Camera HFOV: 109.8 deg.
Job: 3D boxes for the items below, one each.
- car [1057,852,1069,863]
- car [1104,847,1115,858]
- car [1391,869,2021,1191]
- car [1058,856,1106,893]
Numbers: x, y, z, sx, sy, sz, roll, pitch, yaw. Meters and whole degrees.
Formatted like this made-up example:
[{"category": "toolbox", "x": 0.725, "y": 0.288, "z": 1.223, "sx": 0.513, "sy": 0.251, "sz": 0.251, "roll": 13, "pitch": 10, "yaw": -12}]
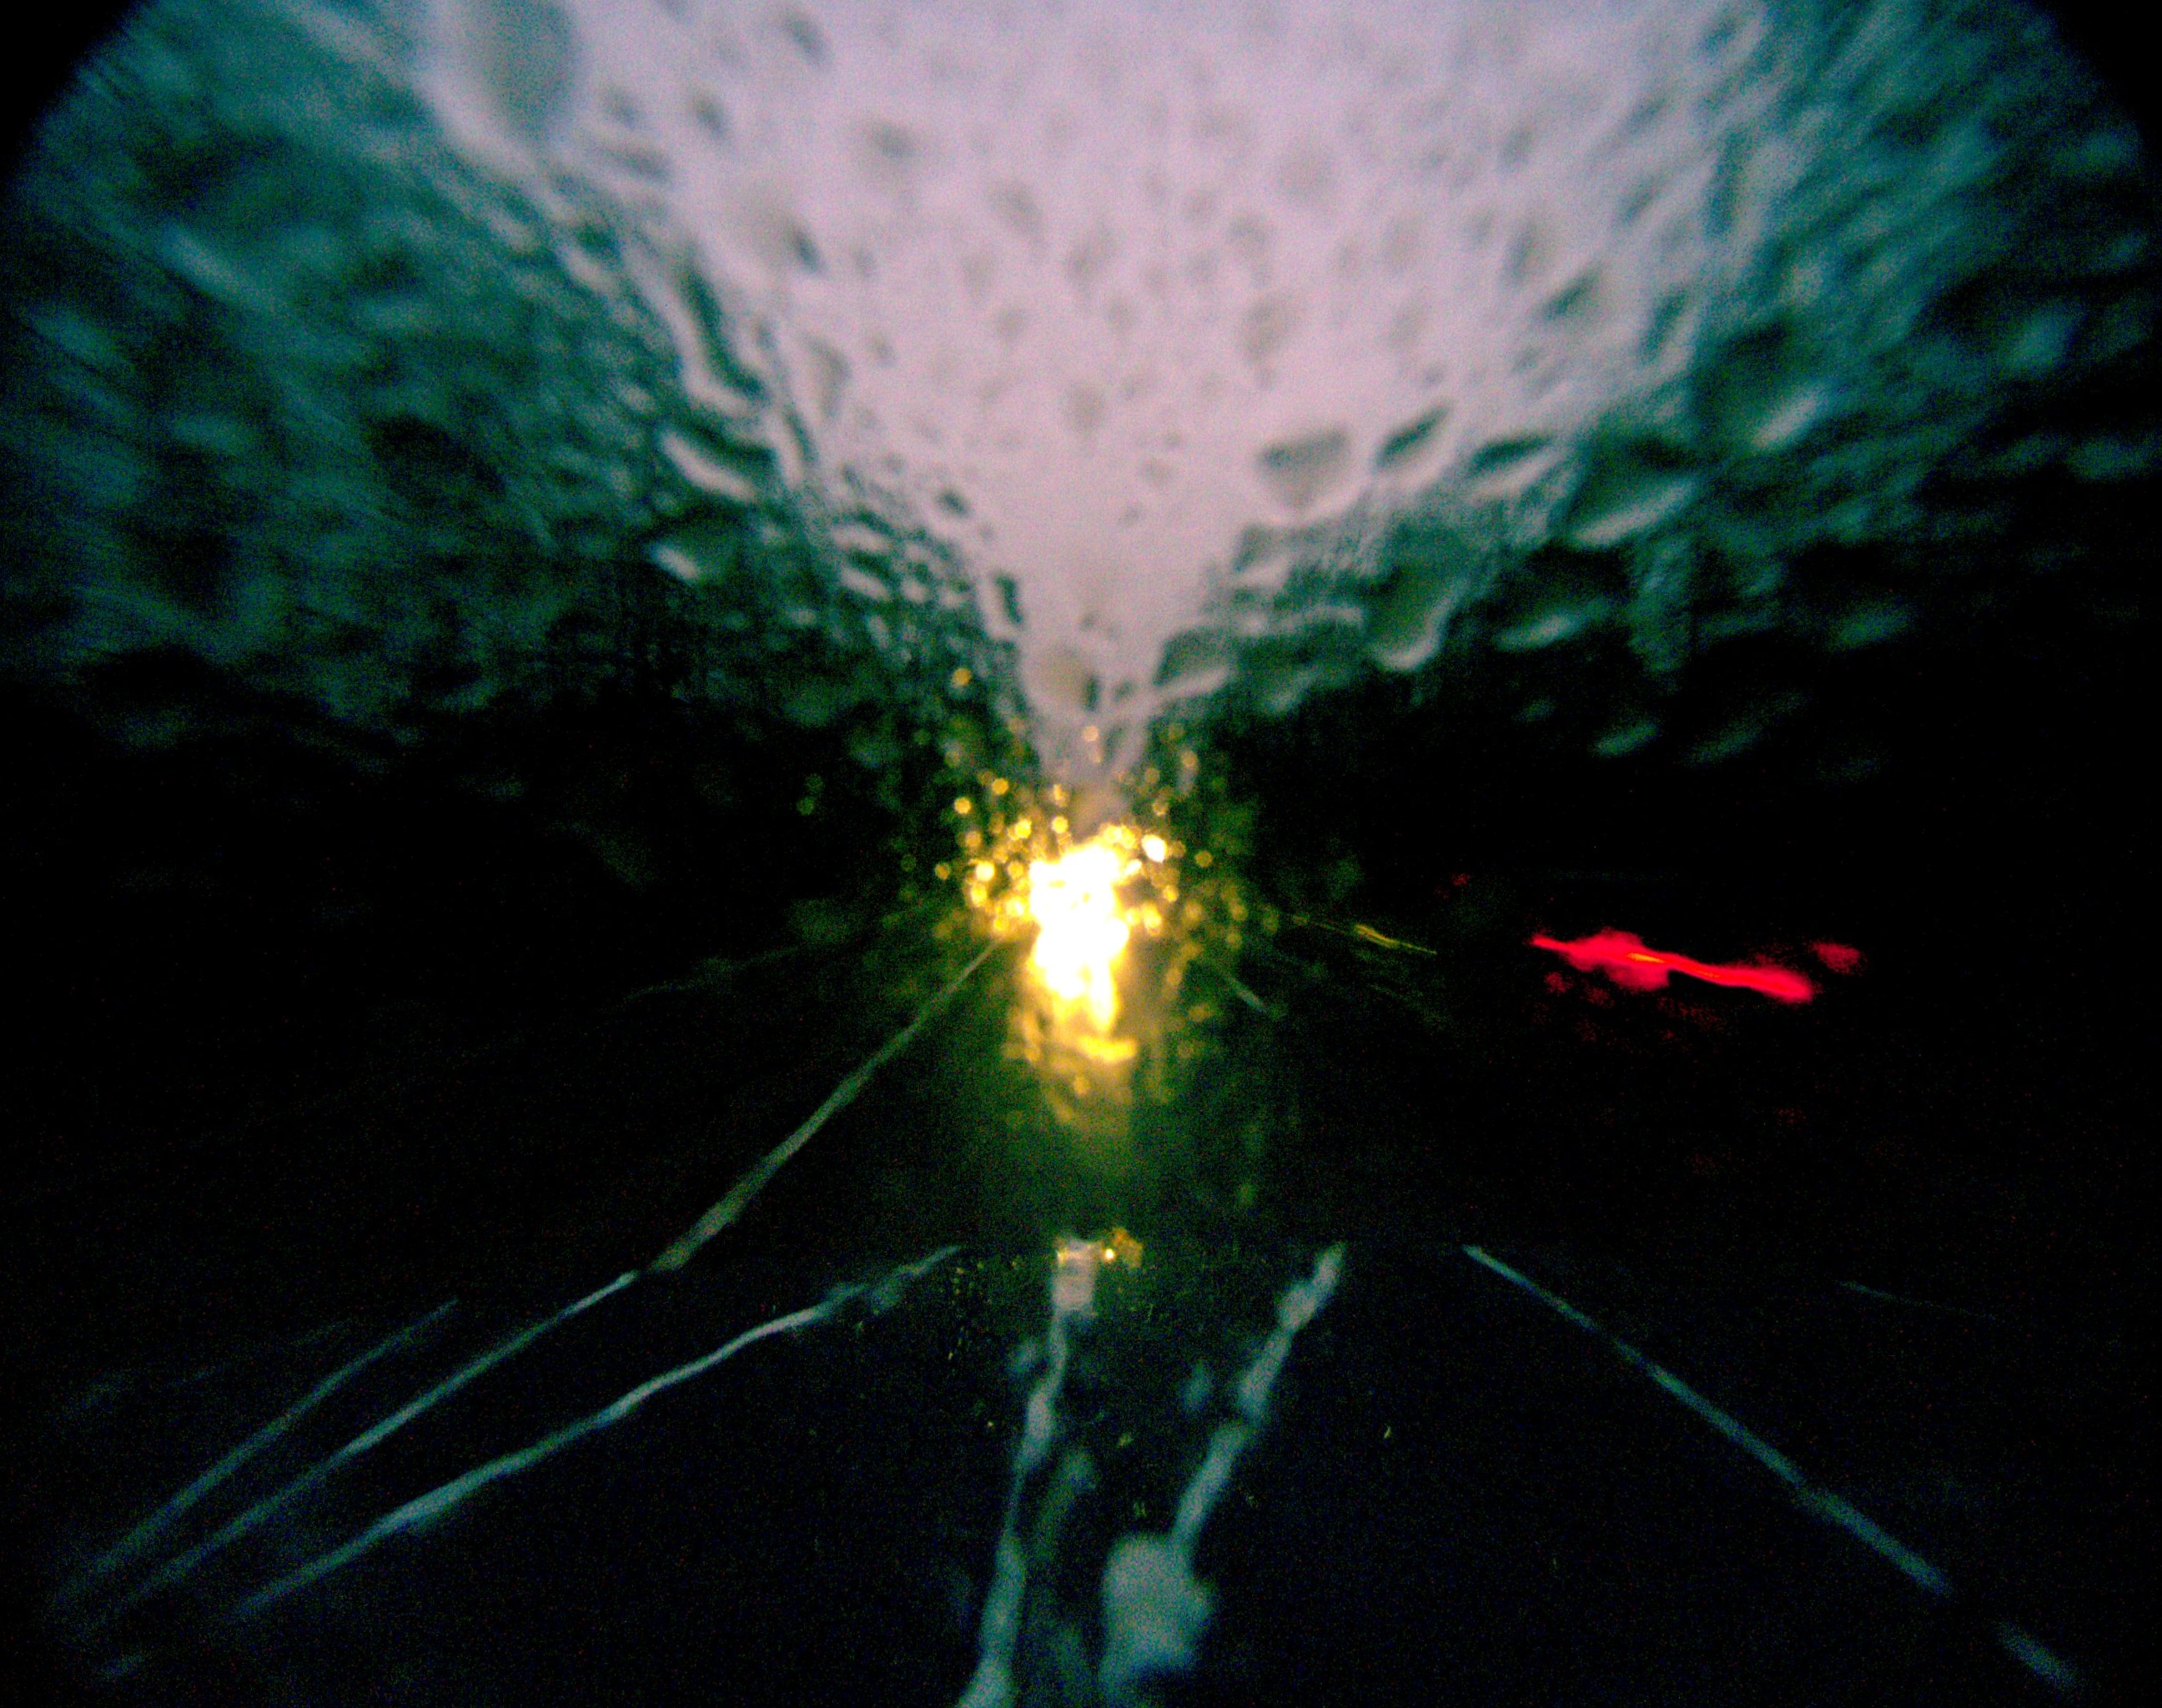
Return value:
[{"category": "car", "x": -3.481, "y": 0.747, "z": 147.876, "sx": 1.998, "sy": 2.002, "sz": 3.999, "roll": -2, "pitch": 1, "yaw": 0}, {"category": "car", "x": 5.678, "y": -0.268, "z": 151.311, "sx": 1.998, "sy": 2.002, "sz": 3.999, "roll": -2, "pitch": 1, "yaw": 0}, {"category": "car", "x": 3.723, "y": 0.879, "z": 5.457, "sx": 1.517, "sy": 1.405, "sz": 3.660, "roll": 2, "pitch": 0, "yaw": 1}, {"category": "car", "x": 0.074, "y": 0.795, "z": 31.365, "sx": 1.845, "sy": 1.390, "sz": 4.000, "roll": -1, "pitch": 0, "yaw": 1}]
